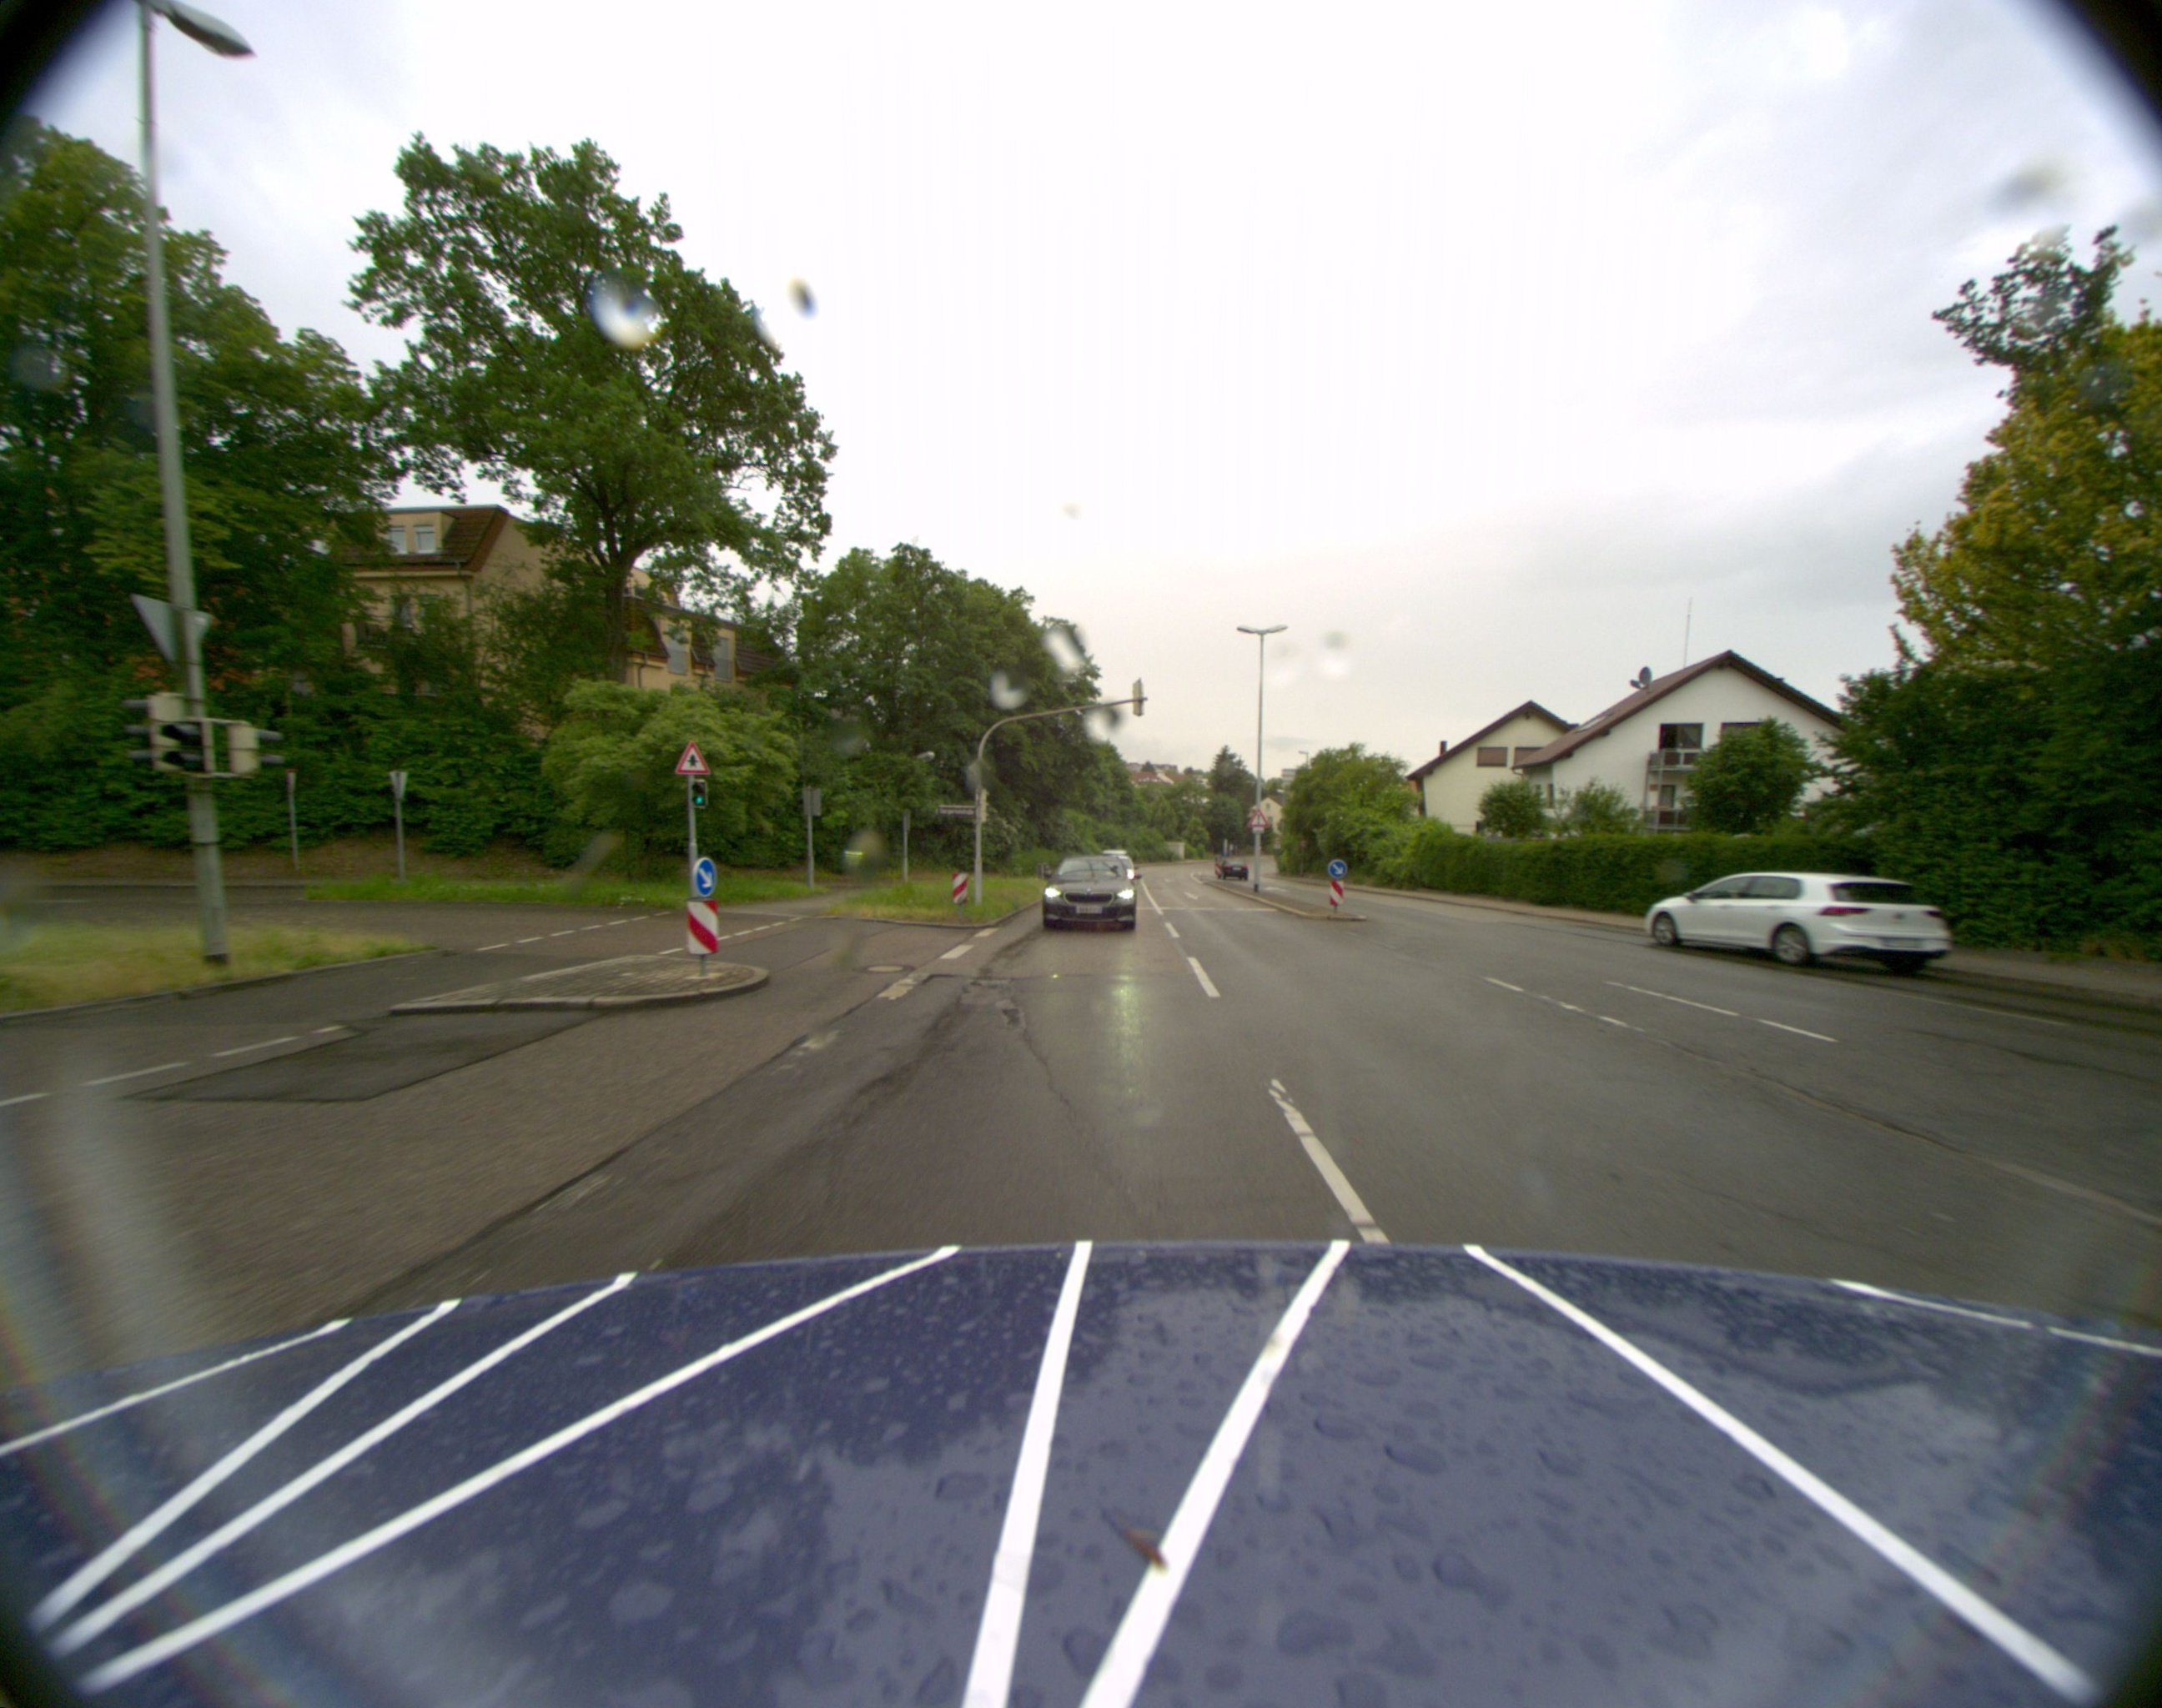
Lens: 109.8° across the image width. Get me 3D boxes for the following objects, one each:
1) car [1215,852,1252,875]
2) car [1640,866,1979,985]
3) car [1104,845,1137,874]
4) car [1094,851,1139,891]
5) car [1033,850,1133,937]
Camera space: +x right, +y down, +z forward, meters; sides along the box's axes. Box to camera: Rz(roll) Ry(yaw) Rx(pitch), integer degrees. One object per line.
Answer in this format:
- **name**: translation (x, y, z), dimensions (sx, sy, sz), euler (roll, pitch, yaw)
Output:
- **car**: translation (10.589, 0.655, 53.126), dimensions (1.867, 1.484, 3.833), euler (2, 0, 2)
- **car**: translation (11.655, 1.027, 12.648), dimensions (1.731, 1.477, 4.157), euler (3, 1, 3)
- **car**: translation (2.687, 0.330, 51.092), dimensions (1.813, 1.797, 4.121), euler (2, 1, 8)
- **car**: translation (1.625, 0.701, 33.659), dimensions (1.814, 1.547, 4.120), euler (2, 1, 4)
- **car**: translation (0.176, 0.744, 16.657), dimensions (1.867, 1.547, 4.120), euler (2, 2, 4)
